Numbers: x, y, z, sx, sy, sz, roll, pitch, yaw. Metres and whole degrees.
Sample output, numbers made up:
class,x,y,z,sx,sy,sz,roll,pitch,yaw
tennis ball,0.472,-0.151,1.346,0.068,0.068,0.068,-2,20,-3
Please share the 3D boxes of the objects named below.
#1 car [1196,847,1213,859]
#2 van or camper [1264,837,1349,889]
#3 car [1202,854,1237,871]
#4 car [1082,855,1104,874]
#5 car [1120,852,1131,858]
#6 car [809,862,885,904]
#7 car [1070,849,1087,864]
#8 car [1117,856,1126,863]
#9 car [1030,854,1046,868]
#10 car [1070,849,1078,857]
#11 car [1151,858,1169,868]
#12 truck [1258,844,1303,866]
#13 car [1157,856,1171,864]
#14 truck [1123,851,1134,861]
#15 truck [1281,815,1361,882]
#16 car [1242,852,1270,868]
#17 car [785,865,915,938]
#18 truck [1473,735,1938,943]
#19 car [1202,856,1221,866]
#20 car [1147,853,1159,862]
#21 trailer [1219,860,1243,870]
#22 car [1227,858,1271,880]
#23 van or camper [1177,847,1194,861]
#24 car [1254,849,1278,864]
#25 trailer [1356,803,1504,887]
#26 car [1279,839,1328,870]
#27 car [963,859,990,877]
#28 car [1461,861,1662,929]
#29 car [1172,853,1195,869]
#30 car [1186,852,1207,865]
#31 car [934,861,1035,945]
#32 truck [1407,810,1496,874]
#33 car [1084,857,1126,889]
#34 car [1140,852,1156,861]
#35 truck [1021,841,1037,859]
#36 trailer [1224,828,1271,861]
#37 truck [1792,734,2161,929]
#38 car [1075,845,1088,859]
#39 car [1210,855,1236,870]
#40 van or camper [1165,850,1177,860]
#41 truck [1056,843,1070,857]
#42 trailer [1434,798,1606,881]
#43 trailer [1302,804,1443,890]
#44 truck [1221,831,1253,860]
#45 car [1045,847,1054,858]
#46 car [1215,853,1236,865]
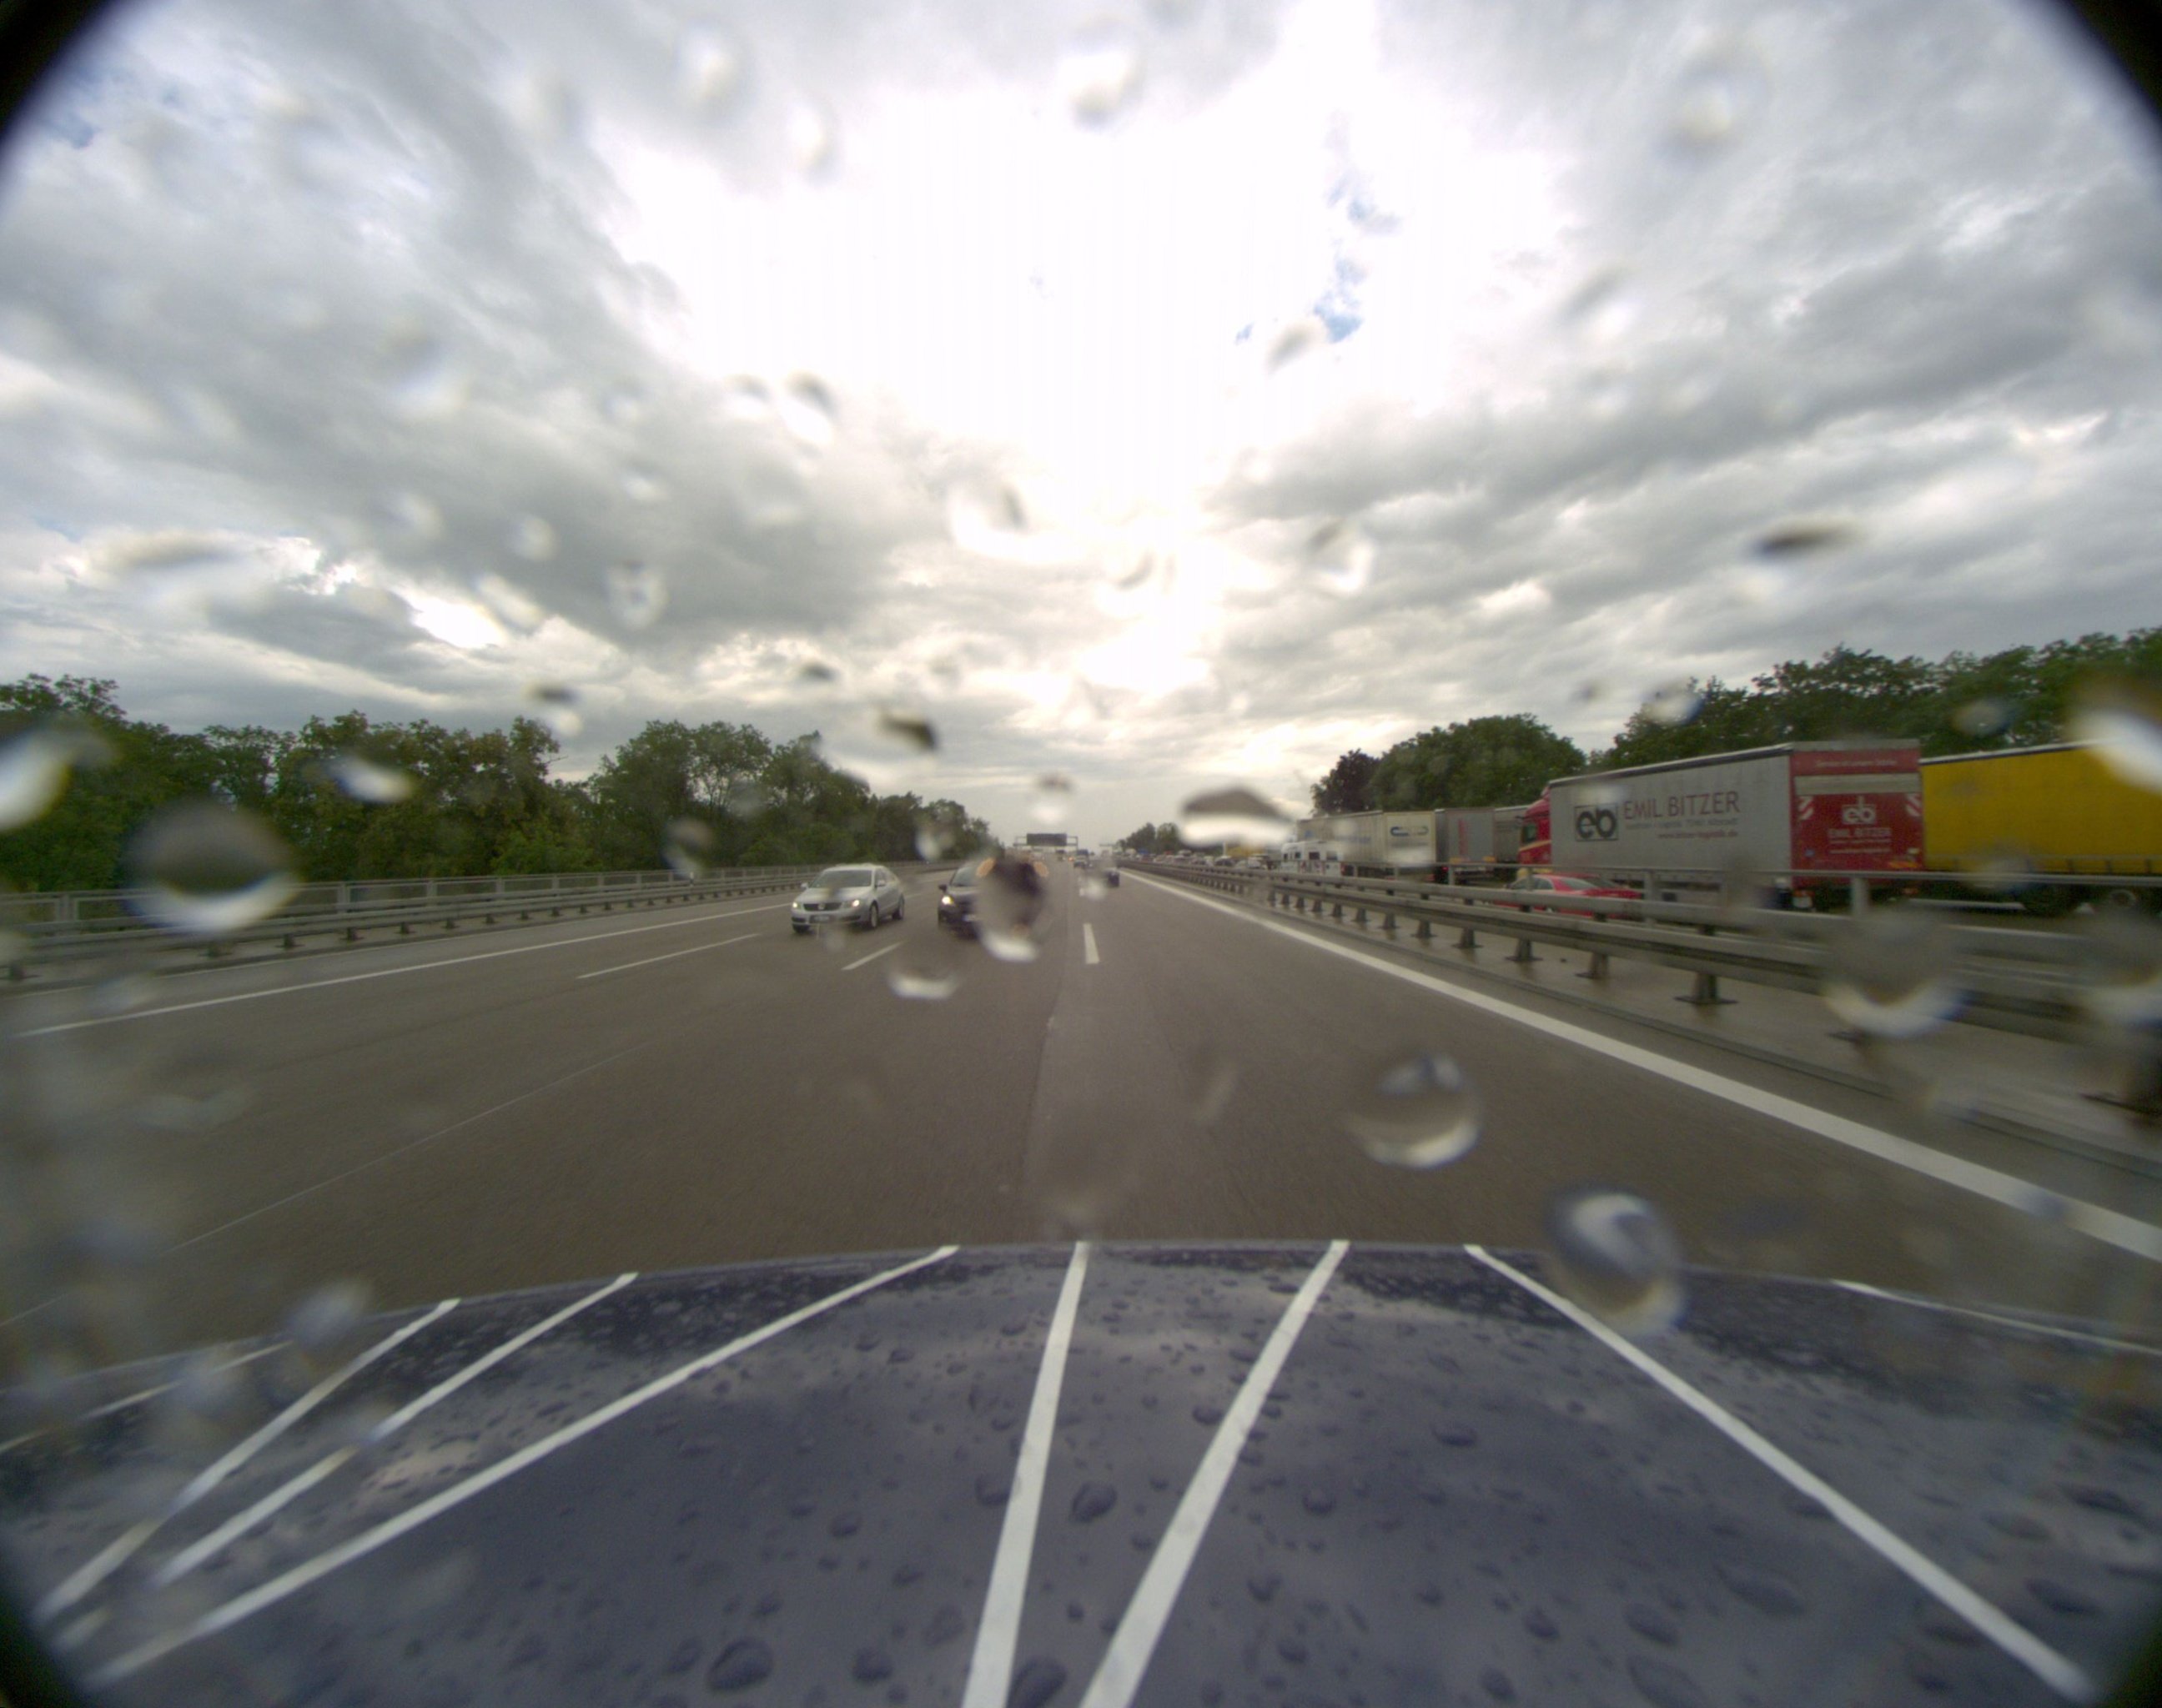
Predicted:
class,x,y,z,sx,sy,sz,roll,pitch,yaw
car,22.784,-0.198,140.179,1.999,2.002,5.410,-1,0,-3
van or camper,11.753,0.444,40.262,2.284,2.481,7.301,-1,0,-1
car,12.094,0.728,66.581,2.020,1.379,5.458,-1,0,-1
car,0.980,0.885,64.051,1.751,1.489,4.015,-2,1,0
car,10.096,0.244,171.462,1.879,1.384,5.363,-1,0,-3
car,-9.446,1.117,31.017,1.820,1.534,4.357,-2,0,-2
car,-0.344,0.346,97.724,2.134,1.831,4.000,-1,0,1
car,9.849,1.389,184.396,1.830,1.665,5.357,-1,0,-2
car,-5.787,0.884,102.800,1.962,1.831,3.999,-1,0,-2
car,-1.904,-0.363,201.273,1.999,2.002,3.507,-2,0,-1
car,11.227,1.232,108.256,1.767,1.375,4.819,-1,0,-2
truck,22.939,0.061,87.961,2.687,2.357,9.273,-1,0,-1
car,15.093,1.097,137.861,1.821,1.417,4.475,-1,0,-3
truck,13.266,0.530,212.854,2.152,2.587,8.755,-1,0,-1
truck,15.932,-0.365,51.012,2.888,4.156,7.556,-1,0,-1
car,15.998,0.534,69.648,1.606,1.379,4.099,-1,0,-1
car,-5.355,1.032,18.214,1.898,1.438,4.245,-2,0,-2
truck,15.769,-0.319,21.517,2.991,4.125,12.522,-1,0,1
car,18.909,1.033,110.094,1.828,1.429,4.051,-1,0,-3
car,14.350,0.695,151.461,1.868,1.603,4.462,-1,0,-3
trailer,15.770,1.161,79.902,1.729,1.031,3.340,-1,0,-2
car,11.873,1.054,53.983,1.927,1.410,5.164,-1,0,-1
van or camper,21.713,0.005,158.032,2.208,2.749,7.229,-1,0,-3
car,19.788,0.276,81.525,1.537,1.586,3.999,-1,0,-1
trailer,19.786,-0.462,44.408,2.887,4.121,13.028,-1,0,1
car,19.256,0.043,66.092,2.161,2.490,6.771,-1,0,-1
car,-9.065,1.172,66.268,1.782,1.438,4.587,-2,0,-2
car,11.937,0.934,19.399,1.927,1.410,5.011,-1,0,-1
car,12.109,0.781,89.636,1.918,1.756,5.330,-1,0,-1
car,14.658,0.572,96.511,1.752,1.567,4.417,-1,0,-2
car,-1.919,0.932,16.265,1.668,1.431,4.404,-2,1,-1
truck,24.364,-0.751,50.308,2.765,3.970,6.576,-1,0,1
car,1.113,0.877,37.148,1.781,1.399,5.015,-2,0,-1
car,11.278,0.486,127.438,2.000,1.454,4.840,-1,0,-3
truck,-11.857,-0.816,173.256,3.255,3.884,12.309,-2,0,-4
trailer,23.139,-1.244,106.725,3.256,4.203,14.507,-1,0,-1
truck,23.327,-0.485,17.666,2.727,3.958,11.693,-1,0,1
car,0.034,-0.344,130.948,1.999,2.354,4.171,-2,0,-1
car,15.622,0.880,83.897,1.752,1.567,4.688,-1,0,-2
van or camper,22.217,0.228,187.751,1.945,2.291,6.233,-1,0,-2
truck,-5.216,-1.096,217.072,2.958,3.777,12.322,-2,0,-5
trailer,24.189,-0.714,43.027,2.765,3.970,12.306,-1,0,1
trailer,16.025,-0.342,43.350,2.888,4.121,13.026,-1,0,-1
truck,23.092,-1.224,112.858,3.256,4.225,6.881,-1,0,-1
car,-7.584,-0.294,182.535,2.037,2.587,4.513,-1,0,-1
car,18.592,0.582,97.840,1.752,1.470,4.417,-1,0,-2
